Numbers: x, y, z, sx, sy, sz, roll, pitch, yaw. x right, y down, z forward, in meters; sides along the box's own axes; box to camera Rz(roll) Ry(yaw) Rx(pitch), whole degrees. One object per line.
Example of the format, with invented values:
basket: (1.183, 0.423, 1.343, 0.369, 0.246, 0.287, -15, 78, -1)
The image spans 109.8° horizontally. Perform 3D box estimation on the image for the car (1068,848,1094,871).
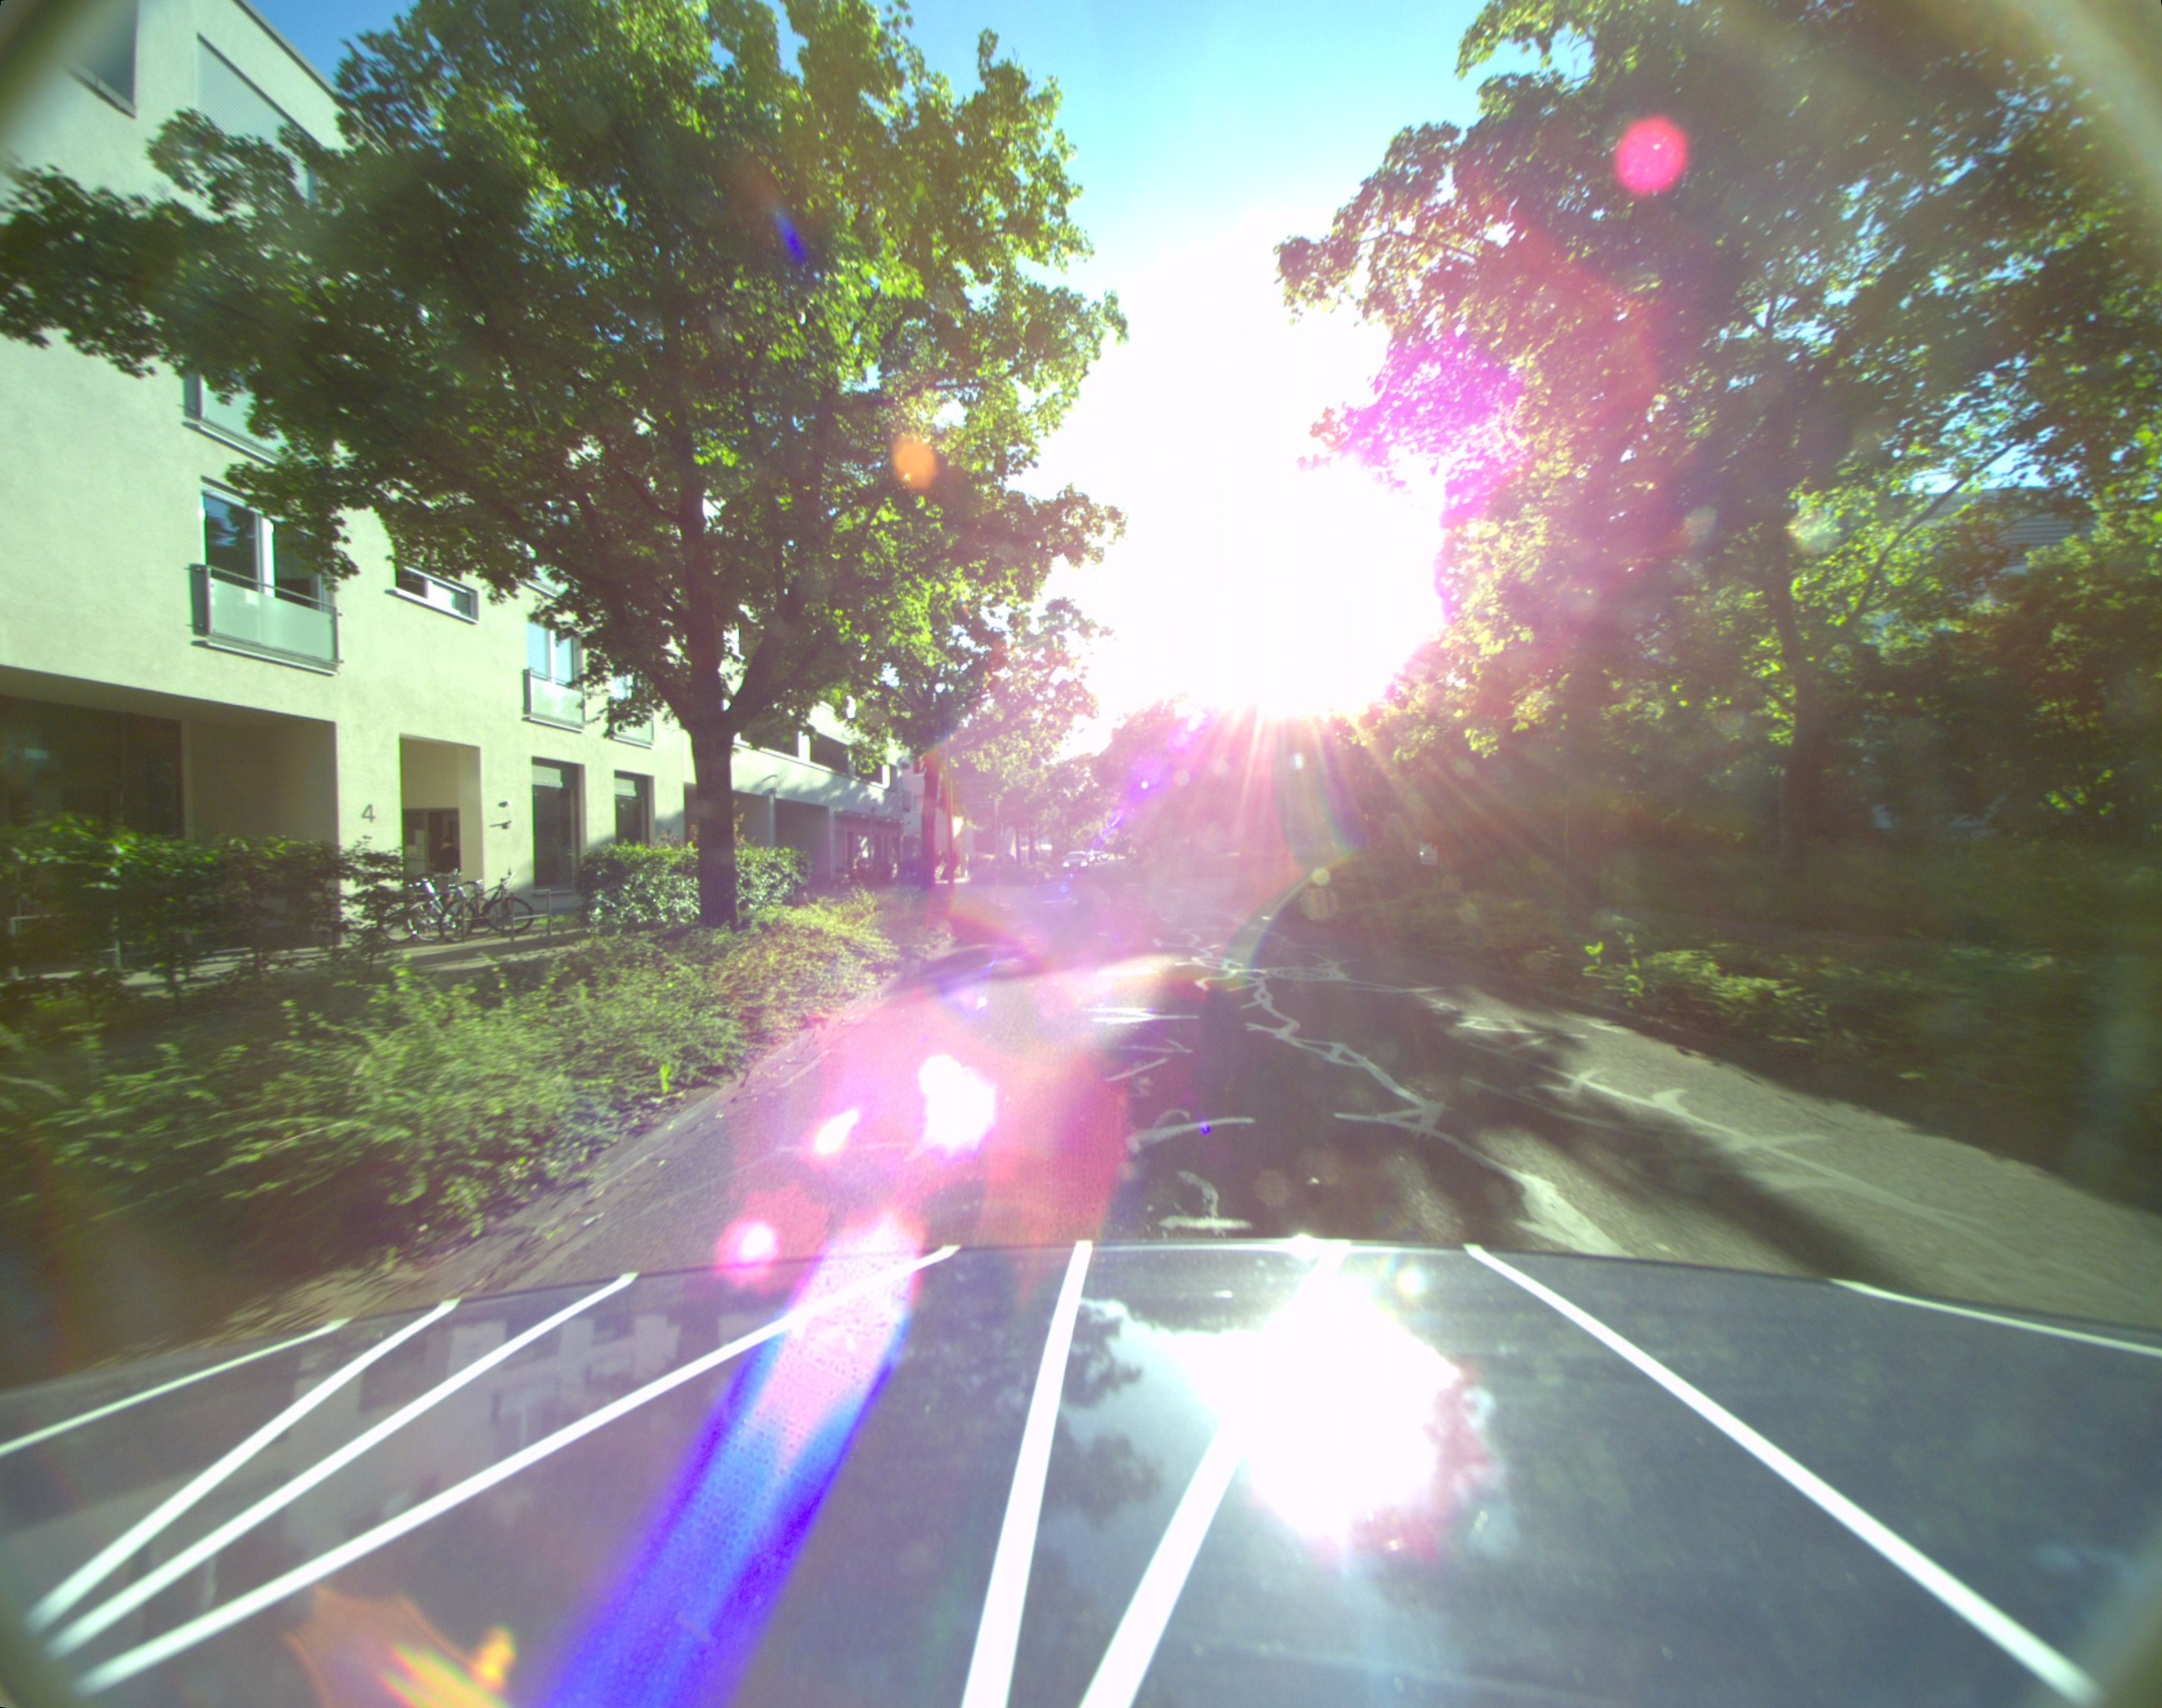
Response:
car: (-0.053, 0.376, 58.305, 1.890, 1.612, 4.617, -2, 1, -1)

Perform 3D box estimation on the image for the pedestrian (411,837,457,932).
pedestrian: (-12.858, 0.599, 15.117, 0.377, 1.863, 0.486, -2, 1, 12)

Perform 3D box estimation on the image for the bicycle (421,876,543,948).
bicycle: (-10.539, 0.976, 13.473, 0.420, 1.081, 2.112, -2, 1, 1)

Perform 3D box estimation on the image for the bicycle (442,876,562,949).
bicycle: (-10.067, 0.978, 13.328, 0.420, 1.081, 2.112, -2, 1, 1)

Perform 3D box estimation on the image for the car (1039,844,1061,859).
car: (-3.243, -0.293, 80.653, 1.998, 1.531, 4.000, -2, 1, 2)

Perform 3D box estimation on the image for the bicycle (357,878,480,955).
bicycle: (-11.039, 1.004, 12.745, 0.420, 1.104, 1.787, -2, 1, 1)
